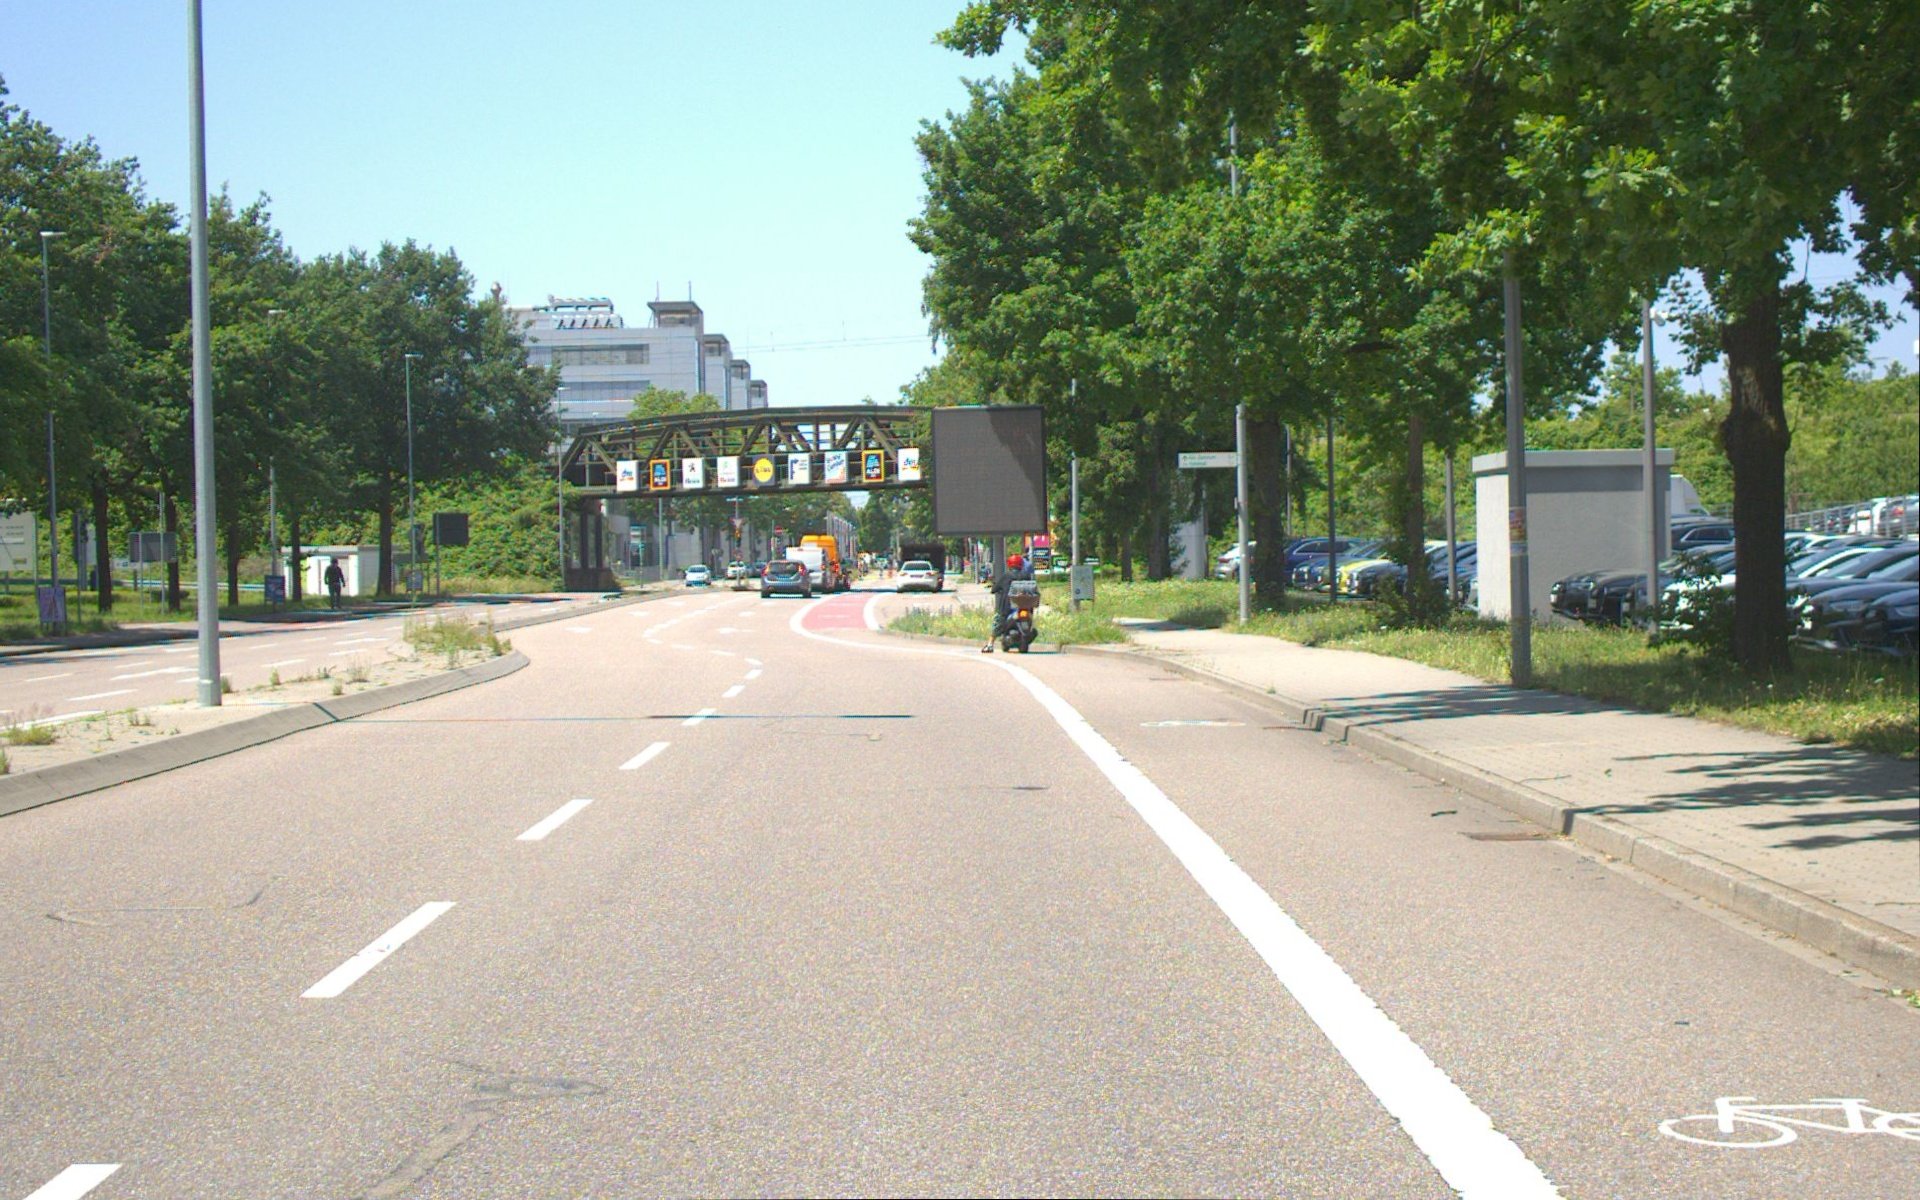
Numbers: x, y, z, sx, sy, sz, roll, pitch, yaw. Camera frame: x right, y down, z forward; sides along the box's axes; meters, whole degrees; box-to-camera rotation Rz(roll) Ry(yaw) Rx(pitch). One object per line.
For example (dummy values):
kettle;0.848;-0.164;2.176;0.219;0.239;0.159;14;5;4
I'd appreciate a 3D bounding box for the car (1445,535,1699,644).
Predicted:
car;10.824;-0.198;60.950;3.986;1.612;1.798;4;0;-5

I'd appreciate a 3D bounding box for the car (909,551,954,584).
car;-1.289;-1.453;153.225;1.924;1.415;4.000;0;1;-2

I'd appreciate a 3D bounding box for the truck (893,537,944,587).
truck;-2.116;-1.942;172.170;2.458;2.402;7.134;1;1;-1

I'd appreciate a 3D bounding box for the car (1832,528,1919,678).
car;10.887;0.096;33.516;4.221;1.402;1.917;2;1;-1

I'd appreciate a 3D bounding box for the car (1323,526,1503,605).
car;10.784;-0.823;82.028;3.860;1.598;1.798;4;0;-5

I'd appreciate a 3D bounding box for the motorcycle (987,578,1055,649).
motorcycle;0.965;0.201;54.600;0.716;1.101;1.831;1;0;-11

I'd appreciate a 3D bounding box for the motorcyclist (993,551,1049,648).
motorcyclist;0.968;-0.010;54.599;0.719;1.524;0.871;1;0;-10

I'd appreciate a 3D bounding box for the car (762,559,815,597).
car;-6.527;-0.864;131.334;1.900;1.371;4.232;-1;1;-2

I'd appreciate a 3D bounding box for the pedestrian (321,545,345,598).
pedestrian;-22.478;-1.026;123.253;0.743;1.877;0.577;-1;1;0

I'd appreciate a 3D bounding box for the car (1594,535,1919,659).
car;10.943;-0.049;46.671;4.221;1.447;1.917;3;1;-1

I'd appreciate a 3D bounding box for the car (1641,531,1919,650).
car;11.041;-0.101;43.957;4.221;1.337;1.917;3;1;-1

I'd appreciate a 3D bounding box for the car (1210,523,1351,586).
car;9.594;-1.367;103.130;3.860;1.598;1.798;4;0;-5

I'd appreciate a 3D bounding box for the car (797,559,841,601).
car;-6.400;-0.938;156.601;1.894;1.809;4.000;-1;1;-1

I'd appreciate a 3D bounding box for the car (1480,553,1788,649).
car;10.074;-0.004;51.607;4.221;1.337;1.917;1;1;-1

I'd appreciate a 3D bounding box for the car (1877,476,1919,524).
car;26.202;-2.609;90.799;3.523;1.235;1.542;1;1;-3

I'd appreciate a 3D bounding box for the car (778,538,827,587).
car;-6.640;-1.589;145.463;1.993;2.007;4.000;0;1;-2

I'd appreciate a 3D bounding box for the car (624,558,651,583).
car;-22.503;-2.046;239.728;1.715;1.726;3.807;-1;1;-3

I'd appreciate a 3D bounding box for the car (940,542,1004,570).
car;0.800;-2.865;223.283;3.987;1.744;1.892;-1;1;4

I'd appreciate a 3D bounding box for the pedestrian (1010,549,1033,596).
pedestrian;1.833;-0.821;102.614;0.623;1.370;0.564;-1;1;-2

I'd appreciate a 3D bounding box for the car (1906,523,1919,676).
car;10.940;0.107;30.993;4.221;1.402;1.917;3;1;-1

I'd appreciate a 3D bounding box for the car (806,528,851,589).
car;-6.323;-2.011;165.760;2.072;2.845;6.765;-1;1;-2

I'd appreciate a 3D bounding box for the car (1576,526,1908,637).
car;11.108;-0.270;49.051;4.221;1.337;1.917;3;1;-1

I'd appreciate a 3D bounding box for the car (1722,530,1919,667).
car;10.885;0.059;38.695;4.130;1.376;1.779;4;1;-1

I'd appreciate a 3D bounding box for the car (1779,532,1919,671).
car;10.958;0.088;35.994;4.221;1.365;1.988;3;1;-1
